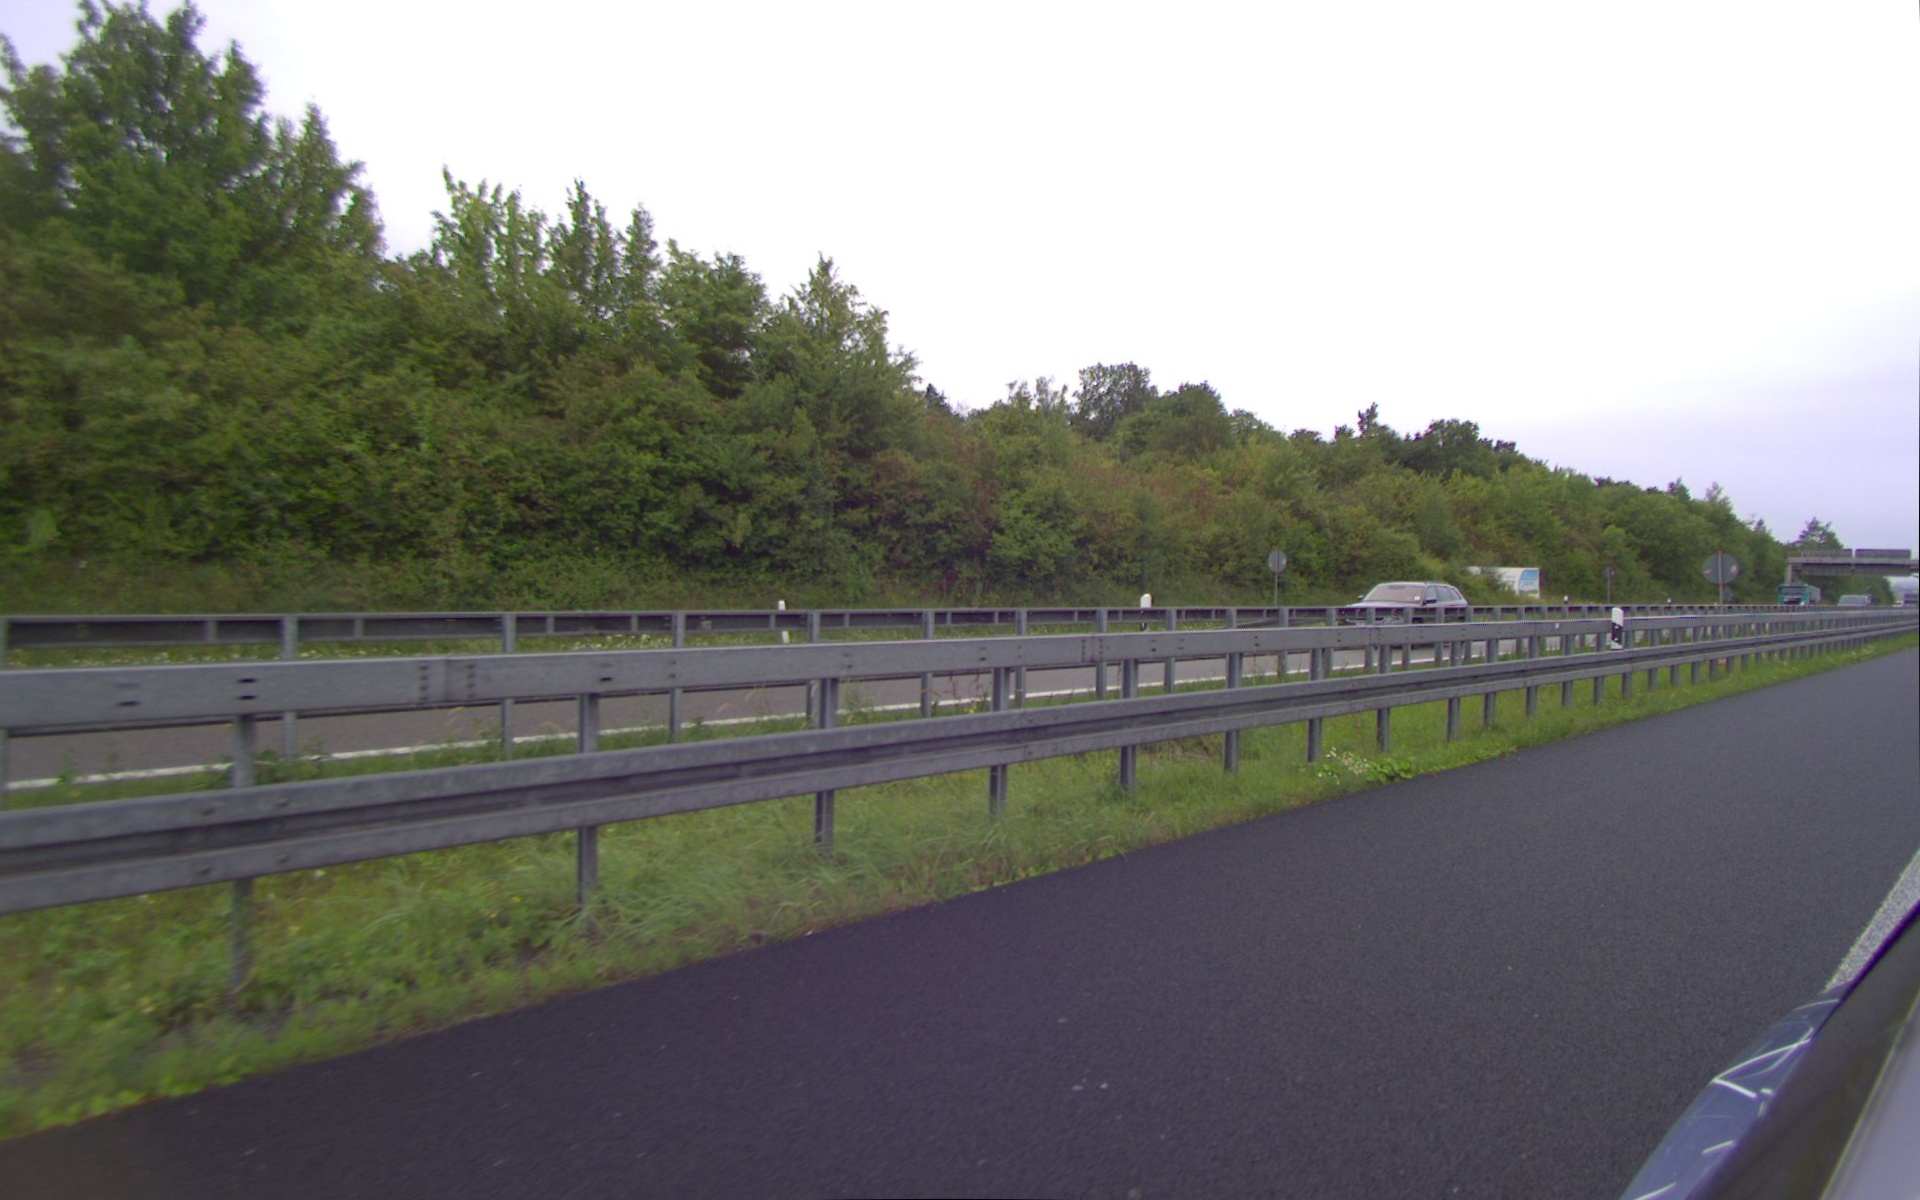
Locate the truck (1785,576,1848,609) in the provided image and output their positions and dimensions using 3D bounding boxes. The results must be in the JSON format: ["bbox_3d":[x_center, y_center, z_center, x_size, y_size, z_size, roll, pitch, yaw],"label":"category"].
[{"bbox_3d":[93.835,-0.853,110.751,13.113,3.460,2.908,0,1,-39],"label":"truck"}]

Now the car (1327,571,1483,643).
[{"bbox_3d":[11.475,0.134,25.966,4.395,1.676,2.011,0,1,-42],"label":"car"}]

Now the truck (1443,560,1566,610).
[{"bbox_3d":[39.864,-1.079,74.012,9.089,3.460,2.916,0,1,-24],"label":"truck"}]
